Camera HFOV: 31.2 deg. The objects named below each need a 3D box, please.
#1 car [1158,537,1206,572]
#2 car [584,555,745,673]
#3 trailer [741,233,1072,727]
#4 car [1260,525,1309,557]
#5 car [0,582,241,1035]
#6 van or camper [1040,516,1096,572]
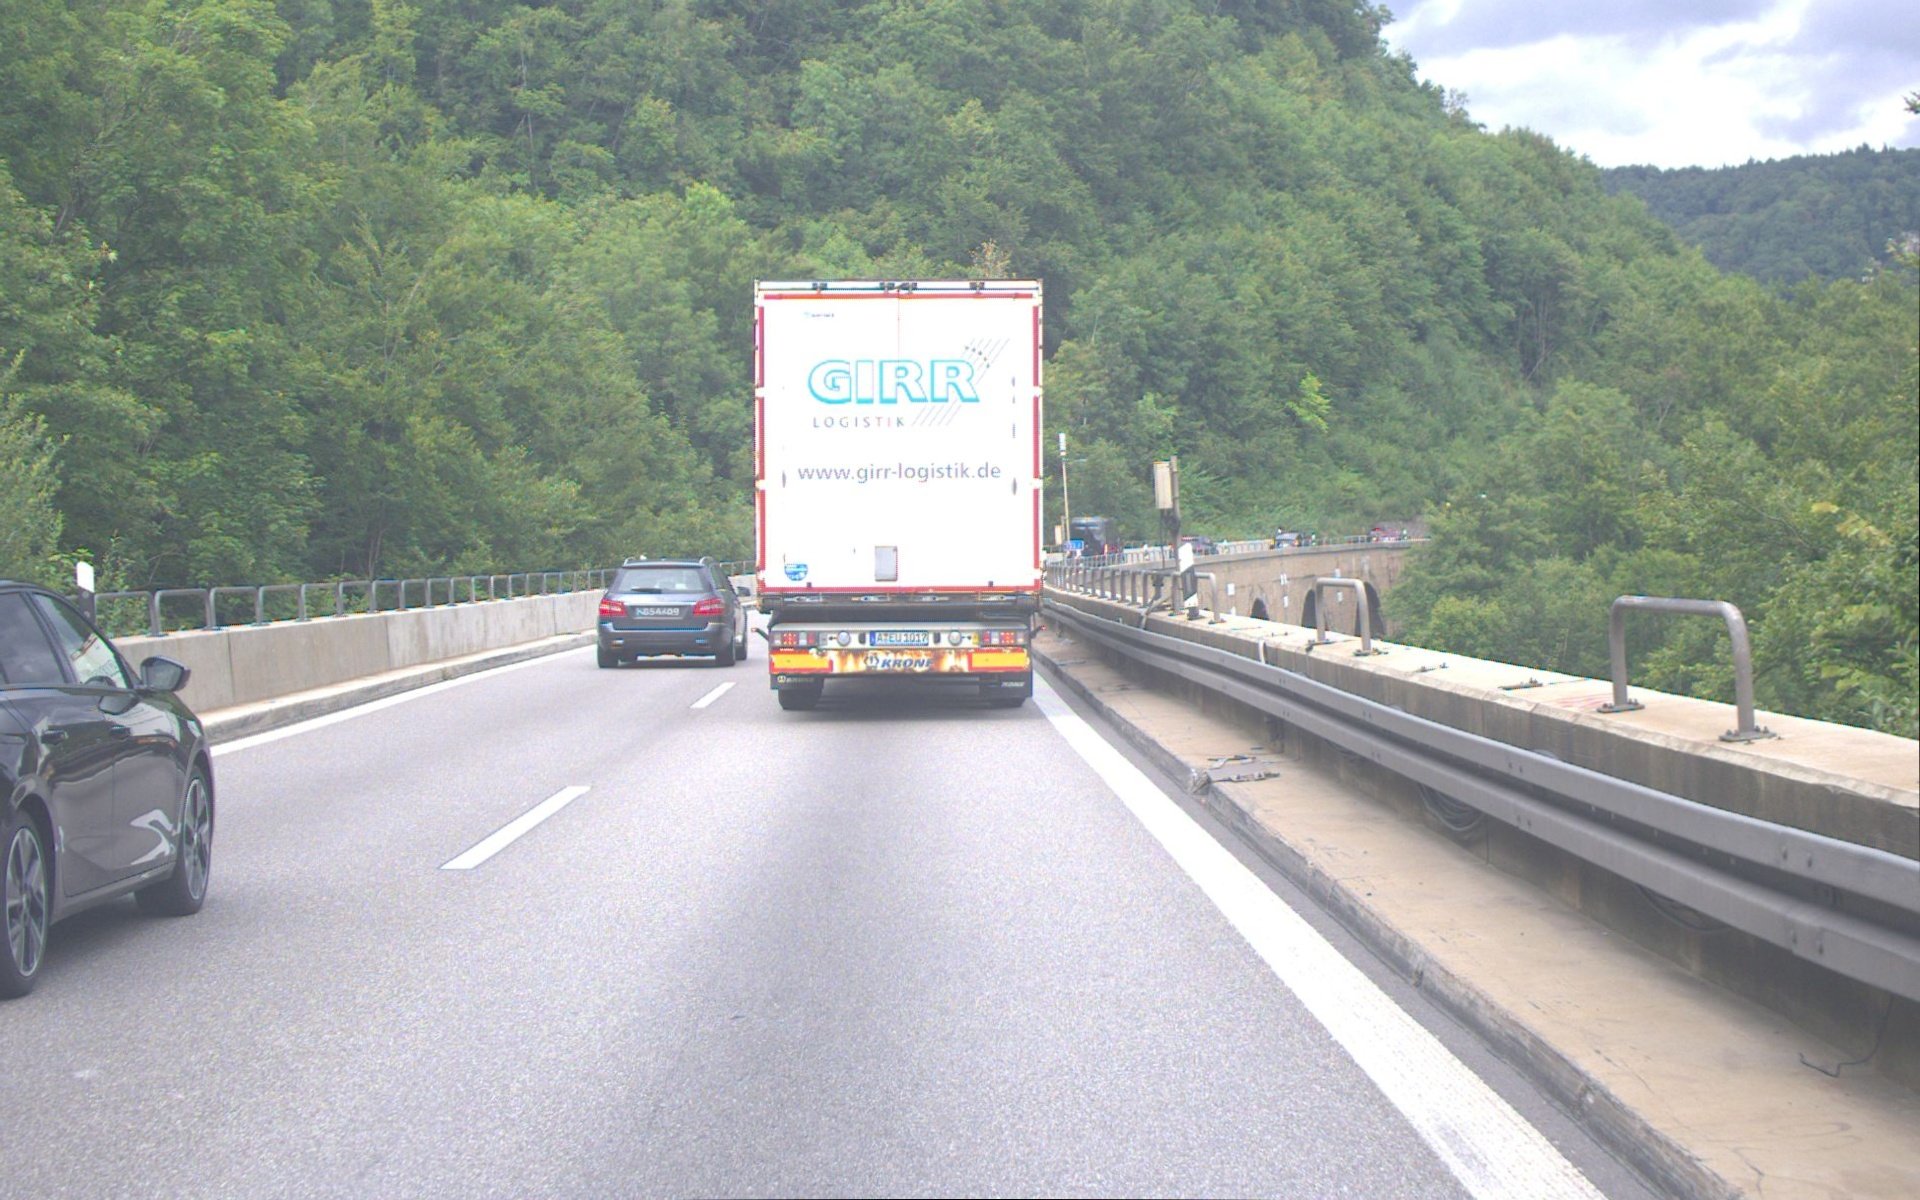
[{"bbox_3d":[11.230,-2.289,173.462,1.994,1.678,3.998,-1,0,9],"label":"car"},{"bbox_3d":[-4.022,0.176,47.413,1.883,1.505,4.419,-1,0,-1],"label":"car"},{"bbox_3d":[-0.582,-1.086,36.395,2.813,4.288,12.245,-1,0,-1],"label":"trailer"},{"bbox_3d":[19.028,-3.441,201.522,1.995,1.788,3.996,-1,0,18],"label":"car"},{"bbox_3d":[-4.053,0.684,12.910,1.773,1.456,4.582,-1,1,-1],"label":"car"},{"bbox_3d":[5.141,-2.637,162.985,1.994,2.551,3.998,-1,0,11],"label":"van or camper"}]
